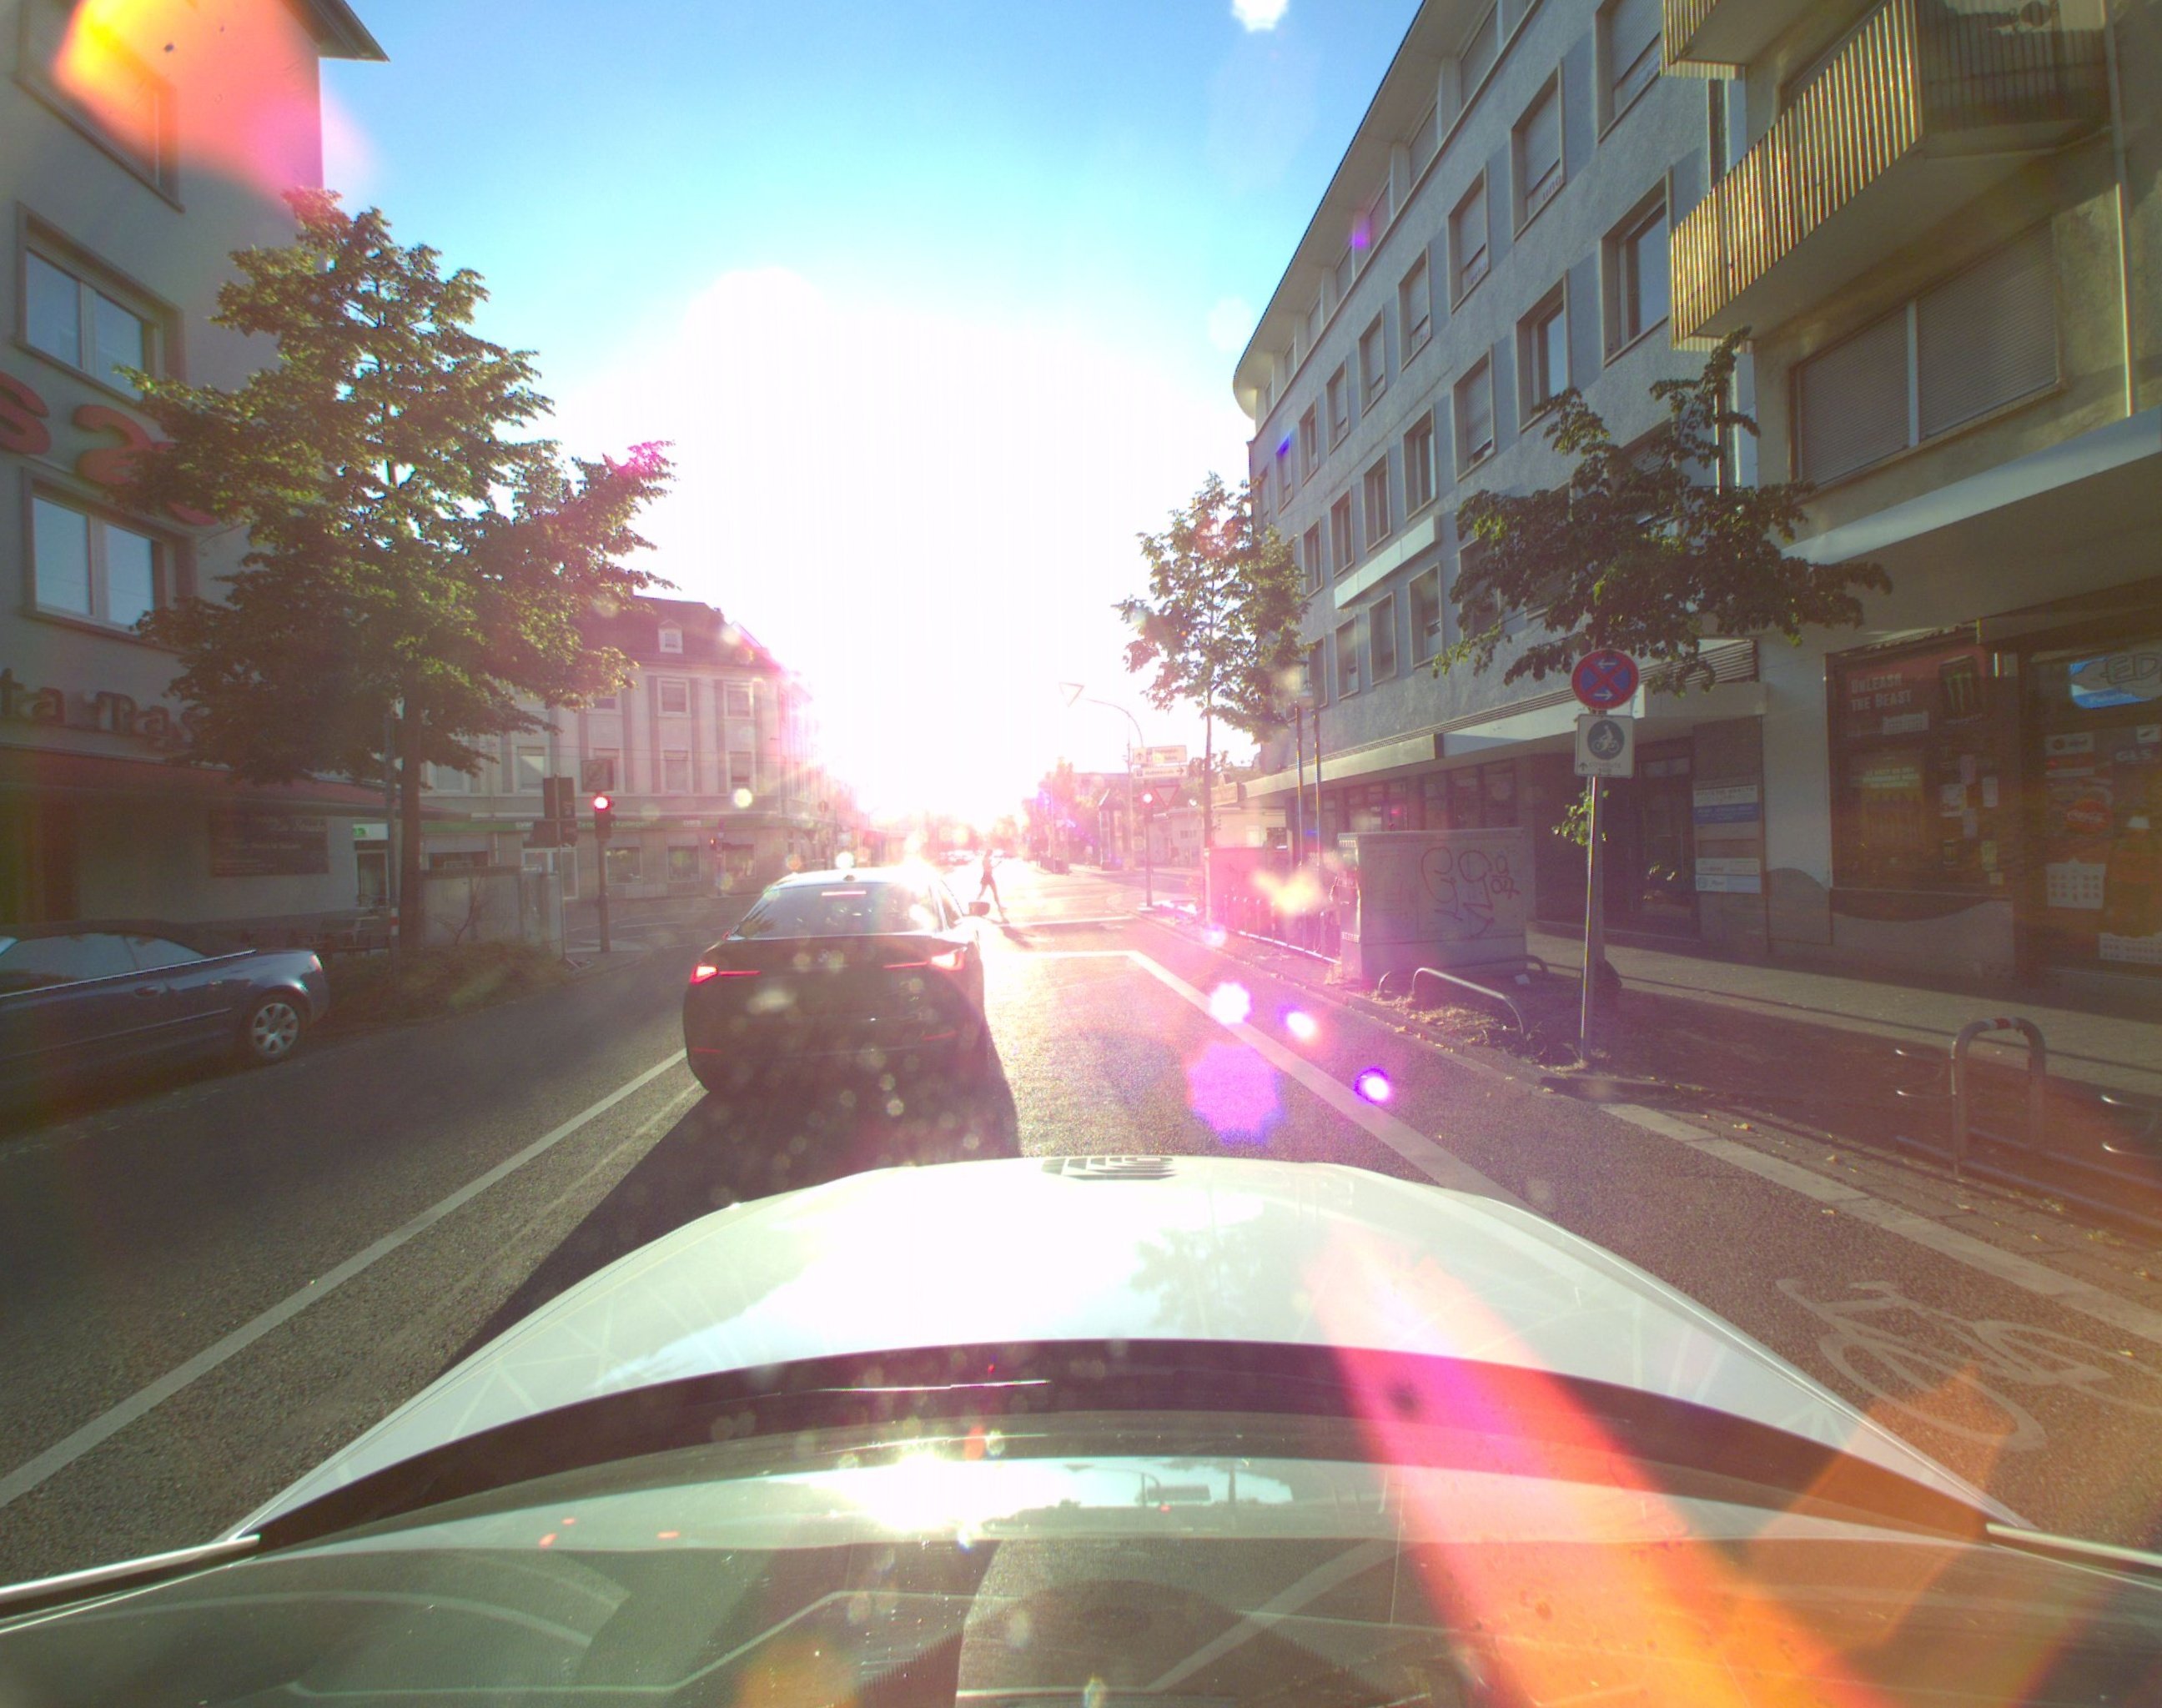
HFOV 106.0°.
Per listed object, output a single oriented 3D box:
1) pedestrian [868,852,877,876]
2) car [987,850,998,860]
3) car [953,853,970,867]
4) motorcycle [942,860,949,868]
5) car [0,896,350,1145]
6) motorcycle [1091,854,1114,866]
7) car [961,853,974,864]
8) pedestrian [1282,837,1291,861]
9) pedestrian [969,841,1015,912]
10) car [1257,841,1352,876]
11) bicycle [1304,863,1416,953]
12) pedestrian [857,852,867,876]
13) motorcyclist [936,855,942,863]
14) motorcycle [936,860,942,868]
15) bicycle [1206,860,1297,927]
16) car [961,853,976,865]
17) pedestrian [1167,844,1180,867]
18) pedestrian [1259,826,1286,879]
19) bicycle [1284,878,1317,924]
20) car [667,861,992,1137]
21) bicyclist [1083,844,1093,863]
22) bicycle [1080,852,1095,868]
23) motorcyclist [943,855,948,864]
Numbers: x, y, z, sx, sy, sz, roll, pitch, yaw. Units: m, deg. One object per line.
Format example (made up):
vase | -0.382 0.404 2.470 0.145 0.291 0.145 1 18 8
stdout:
pedestrian | -16.308 0.775 63.818 0.616 1.876 0.676 0 0 -10
car | -17.663 0.143 162.846 1.767 1.848 3.997 -2 0 -2
car | -13.945 0.736 95.170 1.816 1.519 3.992 -2 0 -6
motorcycle | -15.684 1.155 94.314 0.574 0.915 2.196 0 0 -6
car | -7.636 1.157 5.542 1.721 1.415 4.270 -4 0 -7
motorcycle | 1.812 0.512 67.993 1.673 0.939 0.851 -2 0 -18
car | -17.560 0.654 126.440 1.816 1.519 3.992 -2 0 -6
pedestrian | 14.654 -0.341 58.187 0.445 1.735 0.429 0 0 -31
pedestrian | -2.415 0.594 22.109 1.006 1.860 0.634 -3 0 -27
car | 10.592 0.192 38.535 4.436 1.473 1.799 -2 1 -32
bicycle | 3.886 0.738 11.371 1.438 1.220 0.383 0 0 -5
pedestrian | -16.820 0.779 62.693 0.642 1.876 0.630 0 0 -7
motorcyclist | -16.485 0.630 94.750 0.574 0.915 2.196 0 0 -6
motorcycle | -16.482 1.161 94.726 0.574 0.915 2.196 0 0 -6
bicycle | 3.186 0.735 15.207 1.610 1.171 0.318 -2 0 -5
car | -15.698 0.662 113.546 1.816 1.519 3.992 -2 0 -6
pedestrian | 6.161 0.093 54.398 0.733 1.529 0.471 0 0 -10
pedestrian | 6.897 -0.049 29.299 0.830 1.841 0.680 -2 0 9
bicycle | 4.147 0.876 15.403 0.249 0.796 1.114 0 0 -4
car | -1.641 0.809 6.647 1.735 1.428 4.213 -1 0 -7
bicyclist | 0.520 -0.047 62.342 0.551 1.481 0.718 -1 -1 -18
bicycle | 0.505 0.460 62.415 0.551 1.159 2.131 -1 -1 -17
motorcyclist | -15.675 0.623 94.217 0.574 0.995 0.701 0 0 -6
